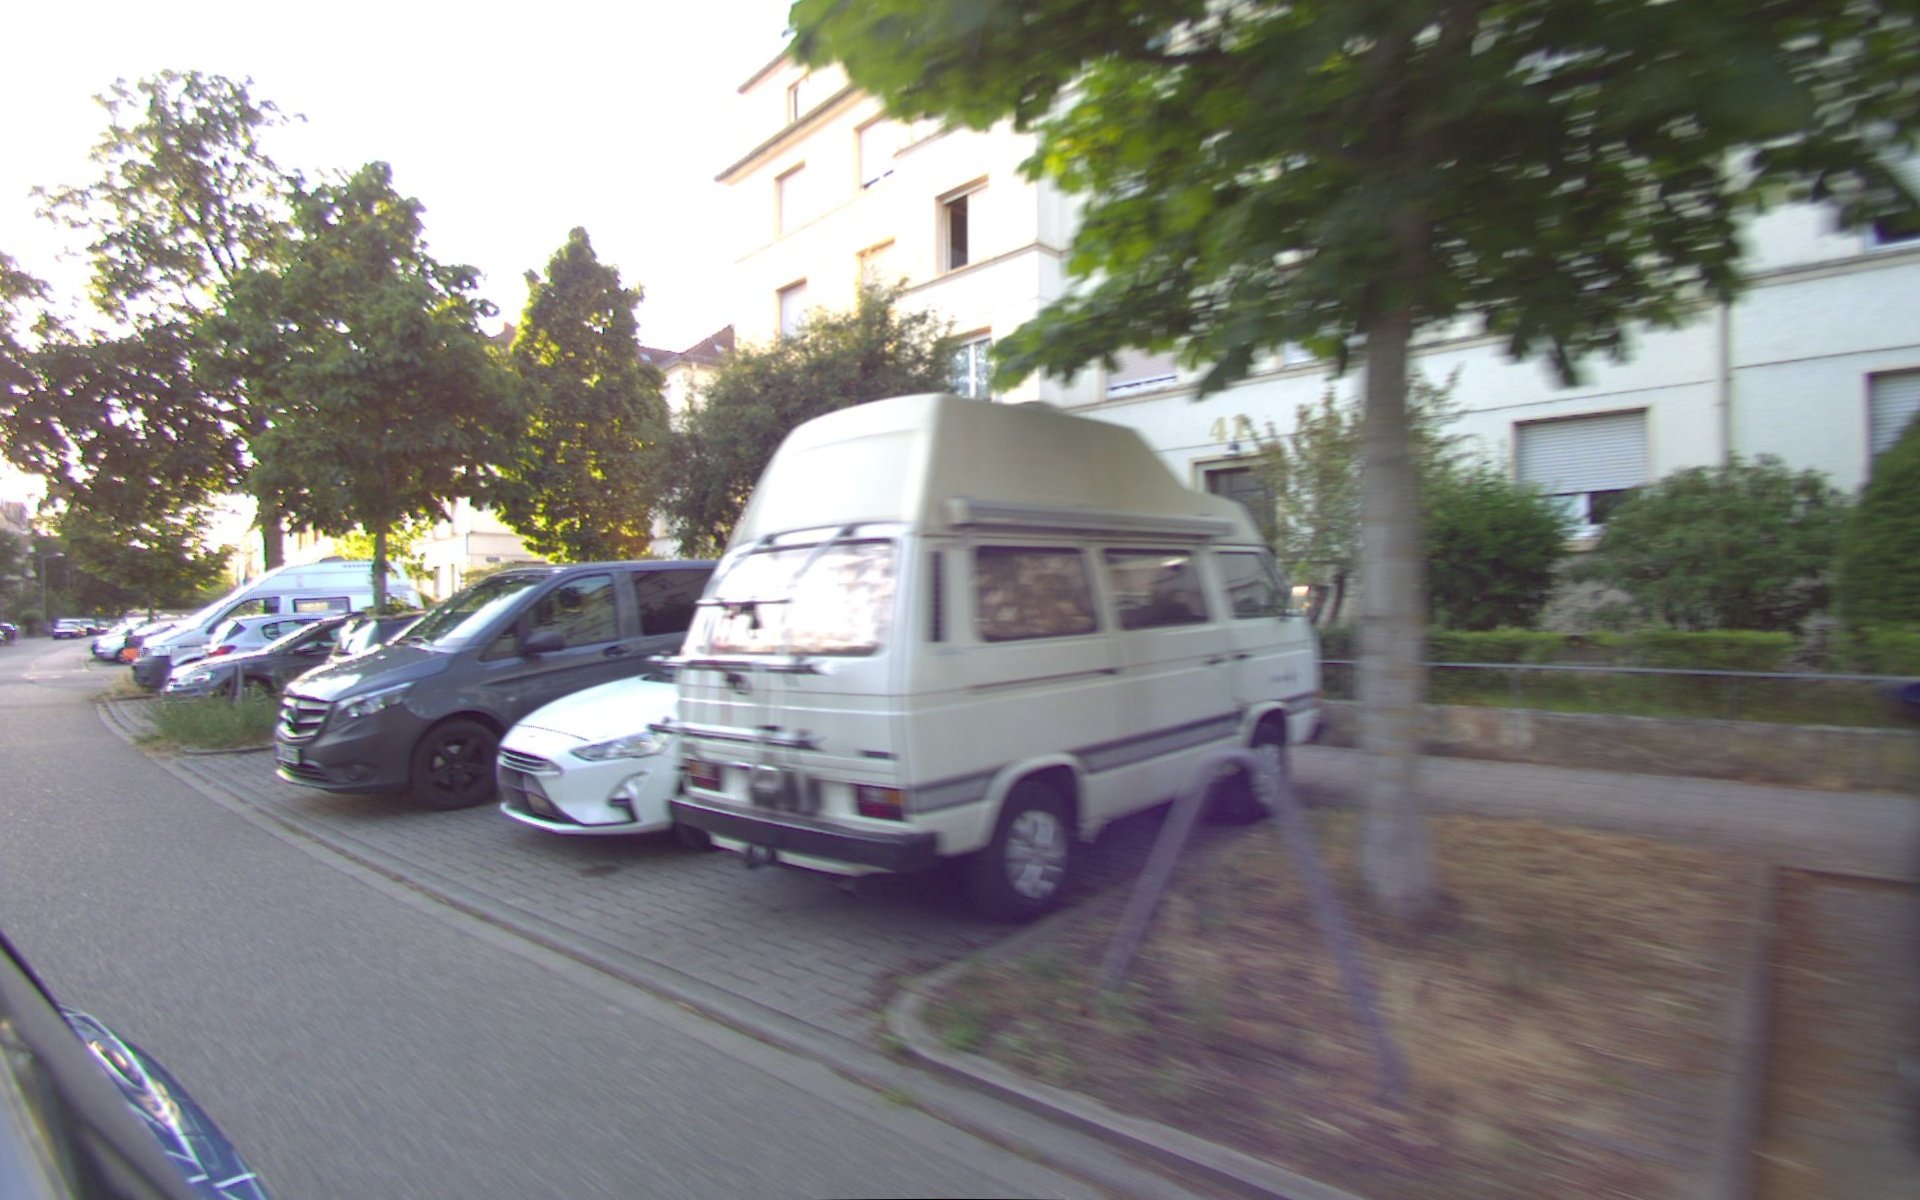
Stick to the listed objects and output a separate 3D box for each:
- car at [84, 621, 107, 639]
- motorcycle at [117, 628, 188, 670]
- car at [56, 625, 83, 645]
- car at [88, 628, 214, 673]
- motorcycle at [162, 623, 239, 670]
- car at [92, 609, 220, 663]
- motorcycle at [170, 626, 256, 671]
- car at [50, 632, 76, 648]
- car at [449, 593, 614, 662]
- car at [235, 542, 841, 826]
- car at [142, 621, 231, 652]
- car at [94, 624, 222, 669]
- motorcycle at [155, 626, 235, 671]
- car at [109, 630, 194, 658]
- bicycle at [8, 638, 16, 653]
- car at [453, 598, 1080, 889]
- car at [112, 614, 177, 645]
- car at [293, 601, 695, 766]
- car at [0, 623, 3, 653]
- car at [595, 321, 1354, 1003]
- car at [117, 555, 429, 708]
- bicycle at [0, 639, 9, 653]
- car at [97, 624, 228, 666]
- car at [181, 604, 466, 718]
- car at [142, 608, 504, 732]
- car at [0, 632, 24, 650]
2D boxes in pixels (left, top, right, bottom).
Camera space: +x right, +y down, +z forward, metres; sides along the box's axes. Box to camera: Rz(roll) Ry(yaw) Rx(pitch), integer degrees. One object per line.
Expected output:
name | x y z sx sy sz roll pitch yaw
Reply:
car | -100.510 3.502 117.745 1.969 2.029 4.006 -1 -1 -40
motorcycle | -29.791 1.796 37.344 0.722 1.447 1.963 -2 -1 44
car | -88.743 3.462 100.841 1.910 1.918 4.062 -1 -1 -40
car | -30.880 1.894 38.690 3.667 1.517 1.693 -1 -1 -40
motorcycle | -27.518 1.659 36.709 2.202 1.594 0.775 -1 -1 -38
car | -37.029 1.631 46.759 4.455 2.085 2.004 -5 0 -37
motorcycle | -25.871 1.660 35.077 2.352 1.447 0.883 -1 -1 -38
car | -85.245 3.781 96.232 1.707 1.386 3.769 -1 -1 -40
car | -13.928 0.857 33.041 4.521 2.029 2.003 -1 -1 -42
car | -3.497 0.546 9.134 1.999 1.888 4.624 -2 -1 42
car | -53.408 2.526 69.996 4.790 2.070 2.005 1 -2 -36
car | -32.283 1.853 40.826 3.936 1.595 1.732 -1 -1 -39
motorcycle | -26.898 1.690 35.620 2.202 1.447 0.775 -1 -1 -38
car | -51.851 2.786 64.963 4.090 1.426 1.740 -4 1 -44
bicycle | -73.238 3.484 78.190 0.352 1.108 1.975 -1 -1 -40
car | -1.149 0.754 7.400 2.000 1.436 4.130 -2 -1 42
car | -71.195 2.549 88.411 4.345 2.576 1.936 -1 0 -38
car | -5.064 0.796 11.344 1.656 1.450 3.728 -2 0 43
car | -70.970 2.792 71.284 4.894 2.117 2.156 -1 0 -35
car | 0.447 0.212 5.971 2.000 2.449 4.454 -2 -1 42
car | -13.076 0.521 19.455 4.676 2.589 2.002 -1 -1 -44
bicycle | -73.534 3.519 77.896 0.352 1.031 1.975 -1 -1 -40
car | -33.968 1.892 43.209 4.272 1.416 1.855 -4 1 -39
car | -10.616 0.938 17.048 3.760 1.534 1.654 -3 1 -44
car | -9.087 0.904 14.659 4.193 1.404 1.686 -2 0 -42
car | -88.366 3.814 94.074 1.773 1.535 4.006 -1 -1 -40
